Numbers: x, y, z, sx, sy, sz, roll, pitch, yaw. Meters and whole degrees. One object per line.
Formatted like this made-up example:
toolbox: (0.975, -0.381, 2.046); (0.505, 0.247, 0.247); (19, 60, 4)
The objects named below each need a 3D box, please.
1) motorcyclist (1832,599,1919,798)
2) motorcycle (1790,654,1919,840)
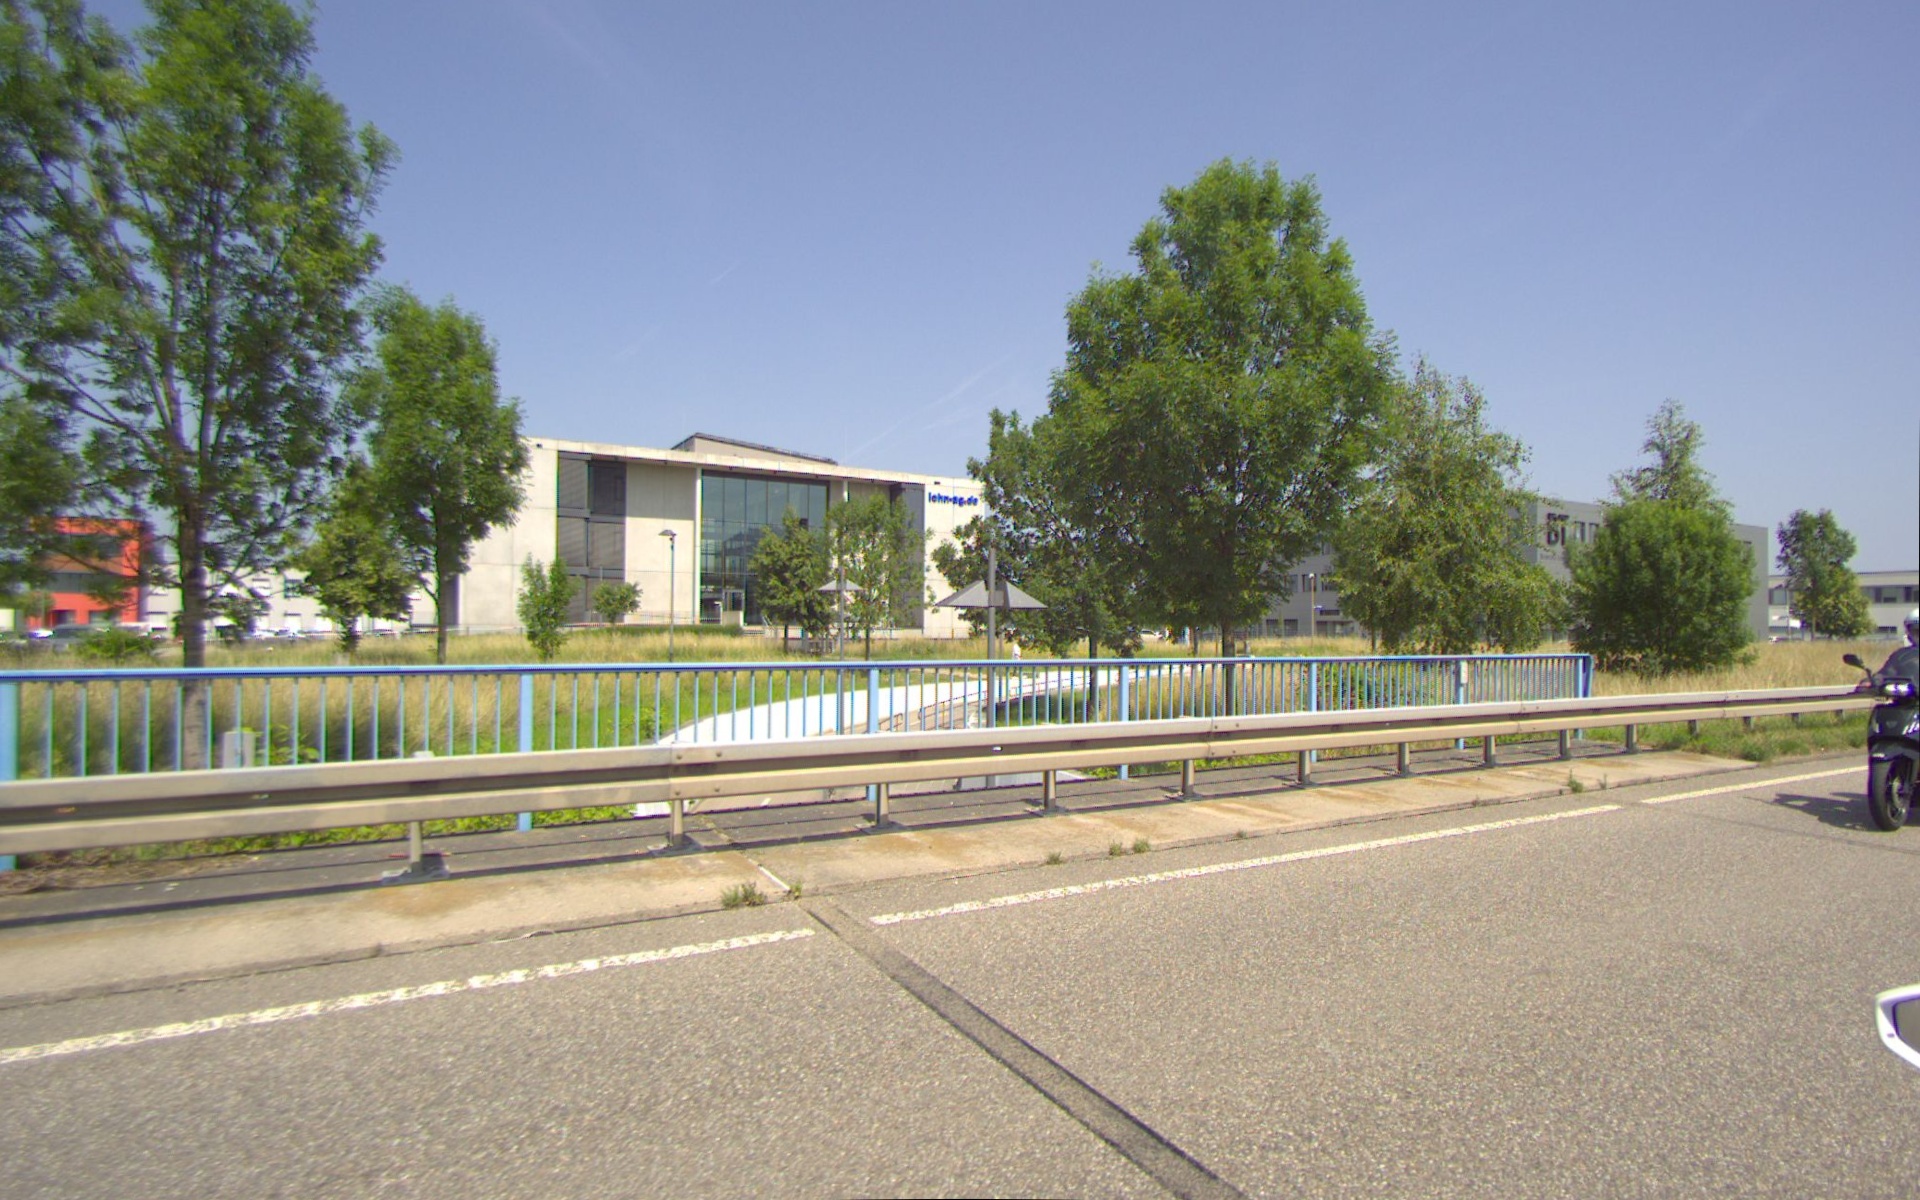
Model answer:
motorcyclist: (7.503, 0.742, 7.857); (0.974, 1.484, 0.723); (1, 0, -27)
motorcycle: (7.488, 1.070, 7.854); (2.339, 1.251, 0.686); (1, 0, -28)
